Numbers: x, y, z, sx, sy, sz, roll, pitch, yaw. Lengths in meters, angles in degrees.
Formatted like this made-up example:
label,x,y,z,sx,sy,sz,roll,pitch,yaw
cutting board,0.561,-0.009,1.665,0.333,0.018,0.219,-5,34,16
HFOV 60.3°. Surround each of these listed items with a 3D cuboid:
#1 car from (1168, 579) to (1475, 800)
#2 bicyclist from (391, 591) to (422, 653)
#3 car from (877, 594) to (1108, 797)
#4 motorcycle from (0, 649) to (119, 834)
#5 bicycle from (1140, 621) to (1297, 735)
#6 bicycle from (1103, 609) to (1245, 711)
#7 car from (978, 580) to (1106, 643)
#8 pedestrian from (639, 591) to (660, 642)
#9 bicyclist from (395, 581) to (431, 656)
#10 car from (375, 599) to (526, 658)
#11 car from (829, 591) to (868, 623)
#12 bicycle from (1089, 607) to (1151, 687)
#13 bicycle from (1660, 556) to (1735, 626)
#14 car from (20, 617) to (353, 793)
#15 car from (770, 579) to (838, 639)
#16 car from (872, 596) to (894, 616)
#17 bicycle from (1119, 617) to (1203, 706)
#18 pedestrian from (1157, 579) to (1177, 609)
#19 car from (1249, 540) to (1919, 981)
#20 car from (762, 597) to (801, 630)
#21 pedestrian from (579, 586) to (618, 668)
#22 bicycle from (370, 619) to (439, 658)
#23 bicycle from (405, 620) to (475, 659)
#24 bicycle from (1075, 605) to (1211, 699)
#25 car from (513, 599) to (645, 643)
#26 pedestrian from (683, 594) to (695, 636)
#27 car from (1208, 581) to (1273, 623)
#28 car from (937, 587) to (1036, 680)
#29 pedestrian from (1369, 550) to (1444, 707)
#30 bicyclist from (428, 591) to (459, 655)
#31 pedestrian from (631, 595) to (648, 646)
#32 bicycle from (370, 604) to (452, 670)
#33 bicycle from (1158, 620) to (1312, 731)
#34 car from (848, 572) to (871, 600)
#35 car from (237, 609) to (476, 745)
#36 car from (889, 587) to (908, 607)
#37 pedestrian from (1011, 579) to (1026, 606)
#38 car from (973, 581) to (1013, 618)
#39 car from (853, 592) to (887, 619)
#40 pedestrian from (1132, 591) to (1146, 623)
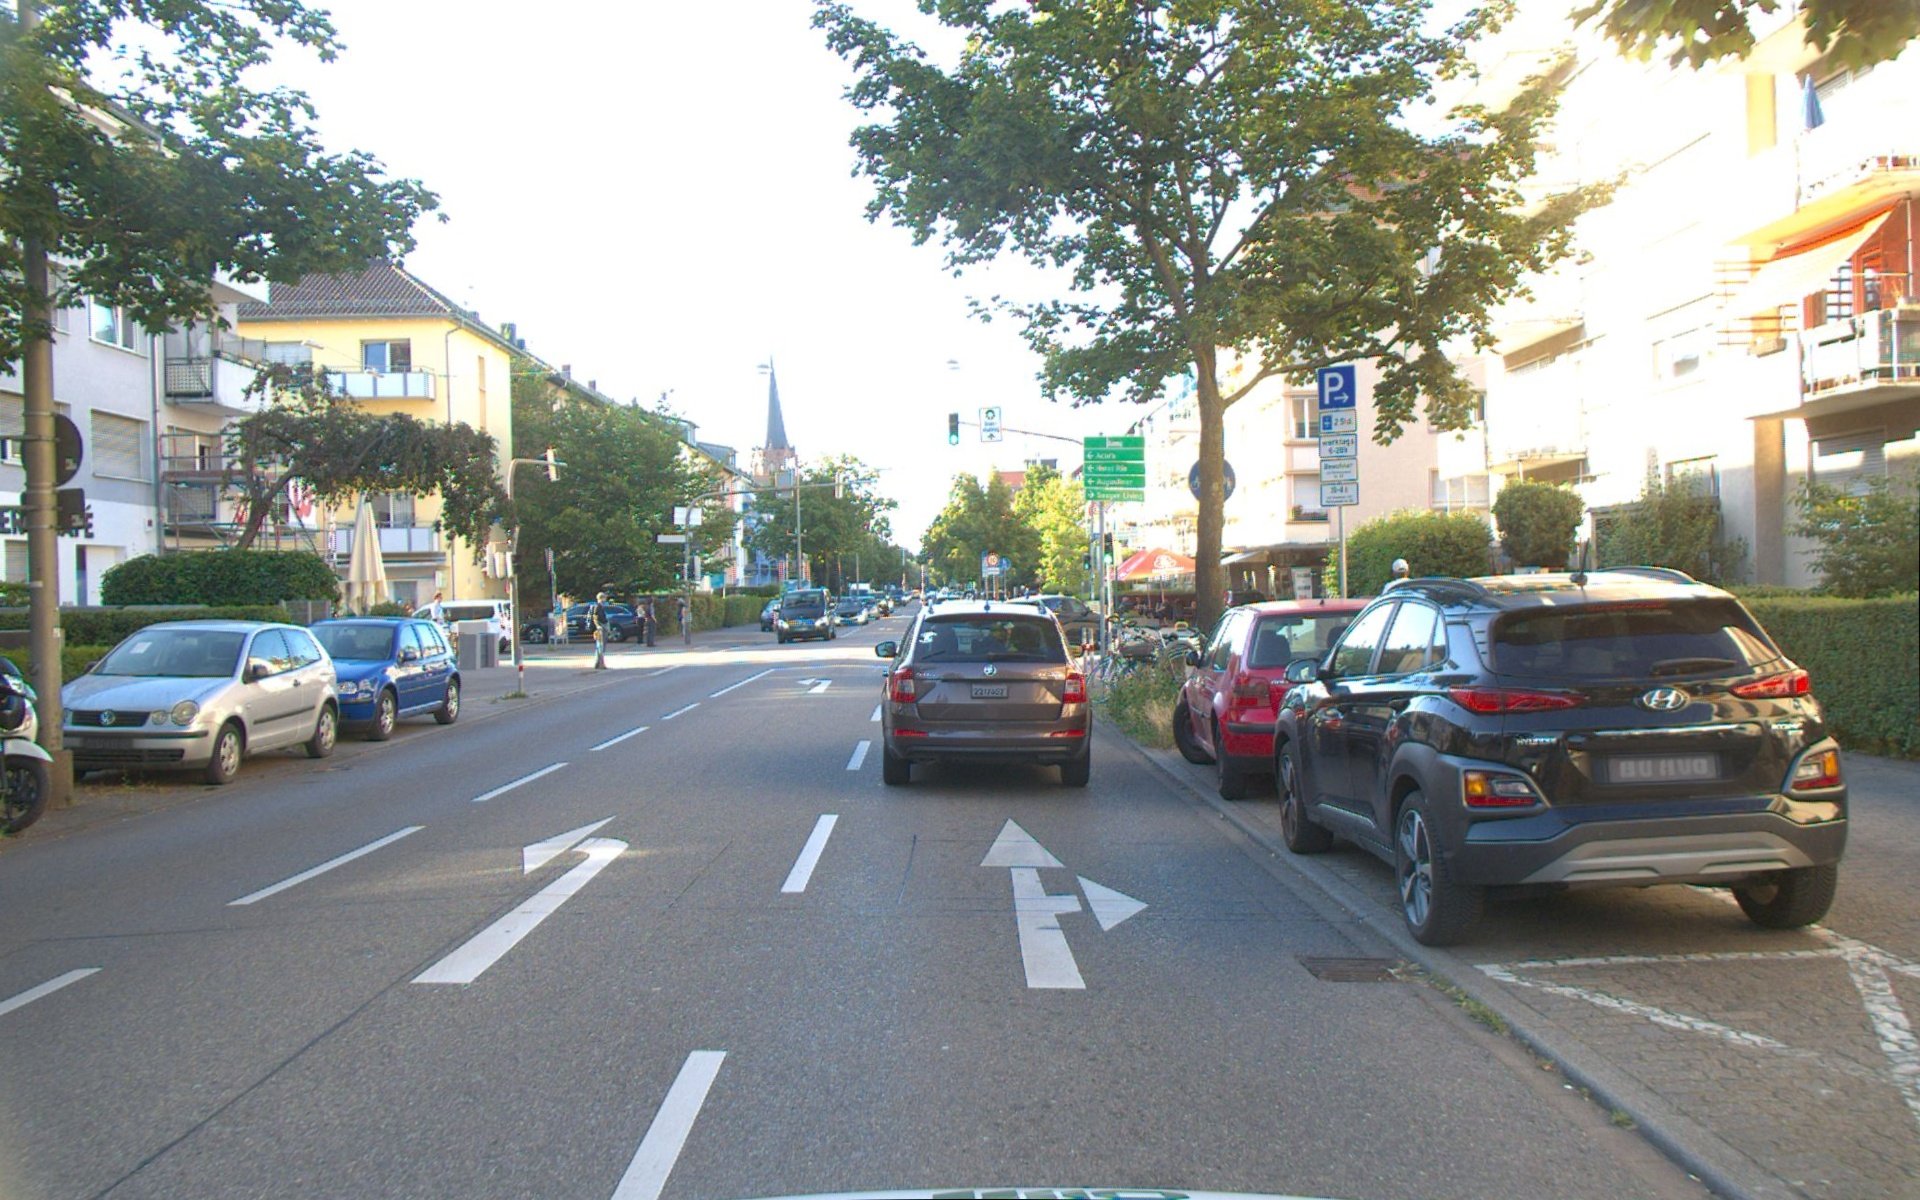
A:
label,x,y,z,sx,sy,sz,roll,pitch,yaw
car,2.803,0.620,13.679,1.668,1.475,4.014,-3,0,1
bicyclist,-16.803,0.666,50.211,0.725,1.855,0.652,-2,0,-10
car,0.195,0.711,14.625,1.737,1.515,4.310,0,0,-1
motorcycle,-7.360,1.041,12.734,2.014,1.287,0.764,-2,0,38
bicycle,2.664,0.800,17.103,1.538,1.123,0.392,-1,0,0
bicycle,2.626,0.738,20.377,1.651,1.126,0.517,-4,0,5
car,2.285,0.300,45.229,1.767,1.579,3.991,-2,0,32
pedestrian,-11.208,0.585,59.713,0.603,1.828,0.504,-2,0,-1
bicyclist,-15.191,0.510,45.927,0.711,2.049,0.843,-1,0,-4
car,-17.390,0.956,56.593,4.540,1.843,1.861,-2,0,-2
car,-5.982,0.375,88.990,1.793,1.607,3.999,-2,0,-1
bicycle,2.472,0.712,25.675,0.492,1.167,1.956,-4,0,-7
bicycle,13.107,-0.159,29.435,0.512,1.203,1.796,-2,0,0
car,-7.545,0.949,16.538,1.561,1.496,3.803,1,0,-1
car,-5.555,0.313,59.491,1.953,1.941,4.962,-4,0,-1
car,-6.386,0.479,137.150,1.669,1.577,4.001,-2,0,-1
bicycle,2.641,0.786,21.615,0.606,1.069,1.572,-1,0,25
pedestrian,8.537,-0.238,68.245,0.714,1.219,0.855,-1,0,0
car,2.813,0.614,8.440,1.818,1.609,4.012,-3,0,-1
car,-8.466,0.606,78.803,1.491,1.482,3.584,-2,0,-1
pedestrian,-9.175,0.678,41.997,0.764,2.022,0.821,-2,0,0
bicycle,-16.858,1.158,50.183,1.865,1.090,0.717,-2,0,-10
bicycle,-15.509,1.171,49.351,1.865,1.090,0.717,-2,0,-10
bicycle,2.574,0.729,23.336,1.796,1.177,0.684,-4,0,5
car,-14.395,0.780,62.651,4.540,1.562,1.861,-1,0,-2
pedestrian,-9.975,0.550,60.962,0.294,1.530,0.640,-1,0,0
car,10.668,0.075,63.168,1.739,1.512,4.000,-2,0,0
car,0.458,0.570,30.644,1.701,1.598,4.000,0,0,0
pedestrian,5.254,0.328,19.501,0.648,1.779,0.773,-3,0,5
bicyclist,-15.416,0.680,49.376,0.725,1.855,0.652,-2,0,-10
pedestrian,-11.648,0.742,60.103,0.440,1.828,0.504,-2,0,0
bicycle,-15.198,1.019,45.825,1.982,1.736,0.756,-2,0,-4
bicycle,2.924,0.795,17.658,1.538,1.123,0.501,-1,0,0
car,-9.405,-1.310,155.394,1.953,2.521,3.999,-2,0,-1
car,-7.615,0.910,21.278,1.615,1.544,4.073,0,0,-1
car,-6.846,-0.333,183.224,1.953,2.049,4.000,-2,0,-1
pedestrian,3.693,-0.474,105.062,0.661,1.734,0.800,-2,0,25
car,1.710,-0.029,83.461,1.952,1.803,4.001,0,0,2
car,-5.817,0.331,107.200,1.953,1.639,4.000,-2,0,0
pedestrian,7.472,0.287,69.070,0.489,1.325,0.506,-1,0,-4
